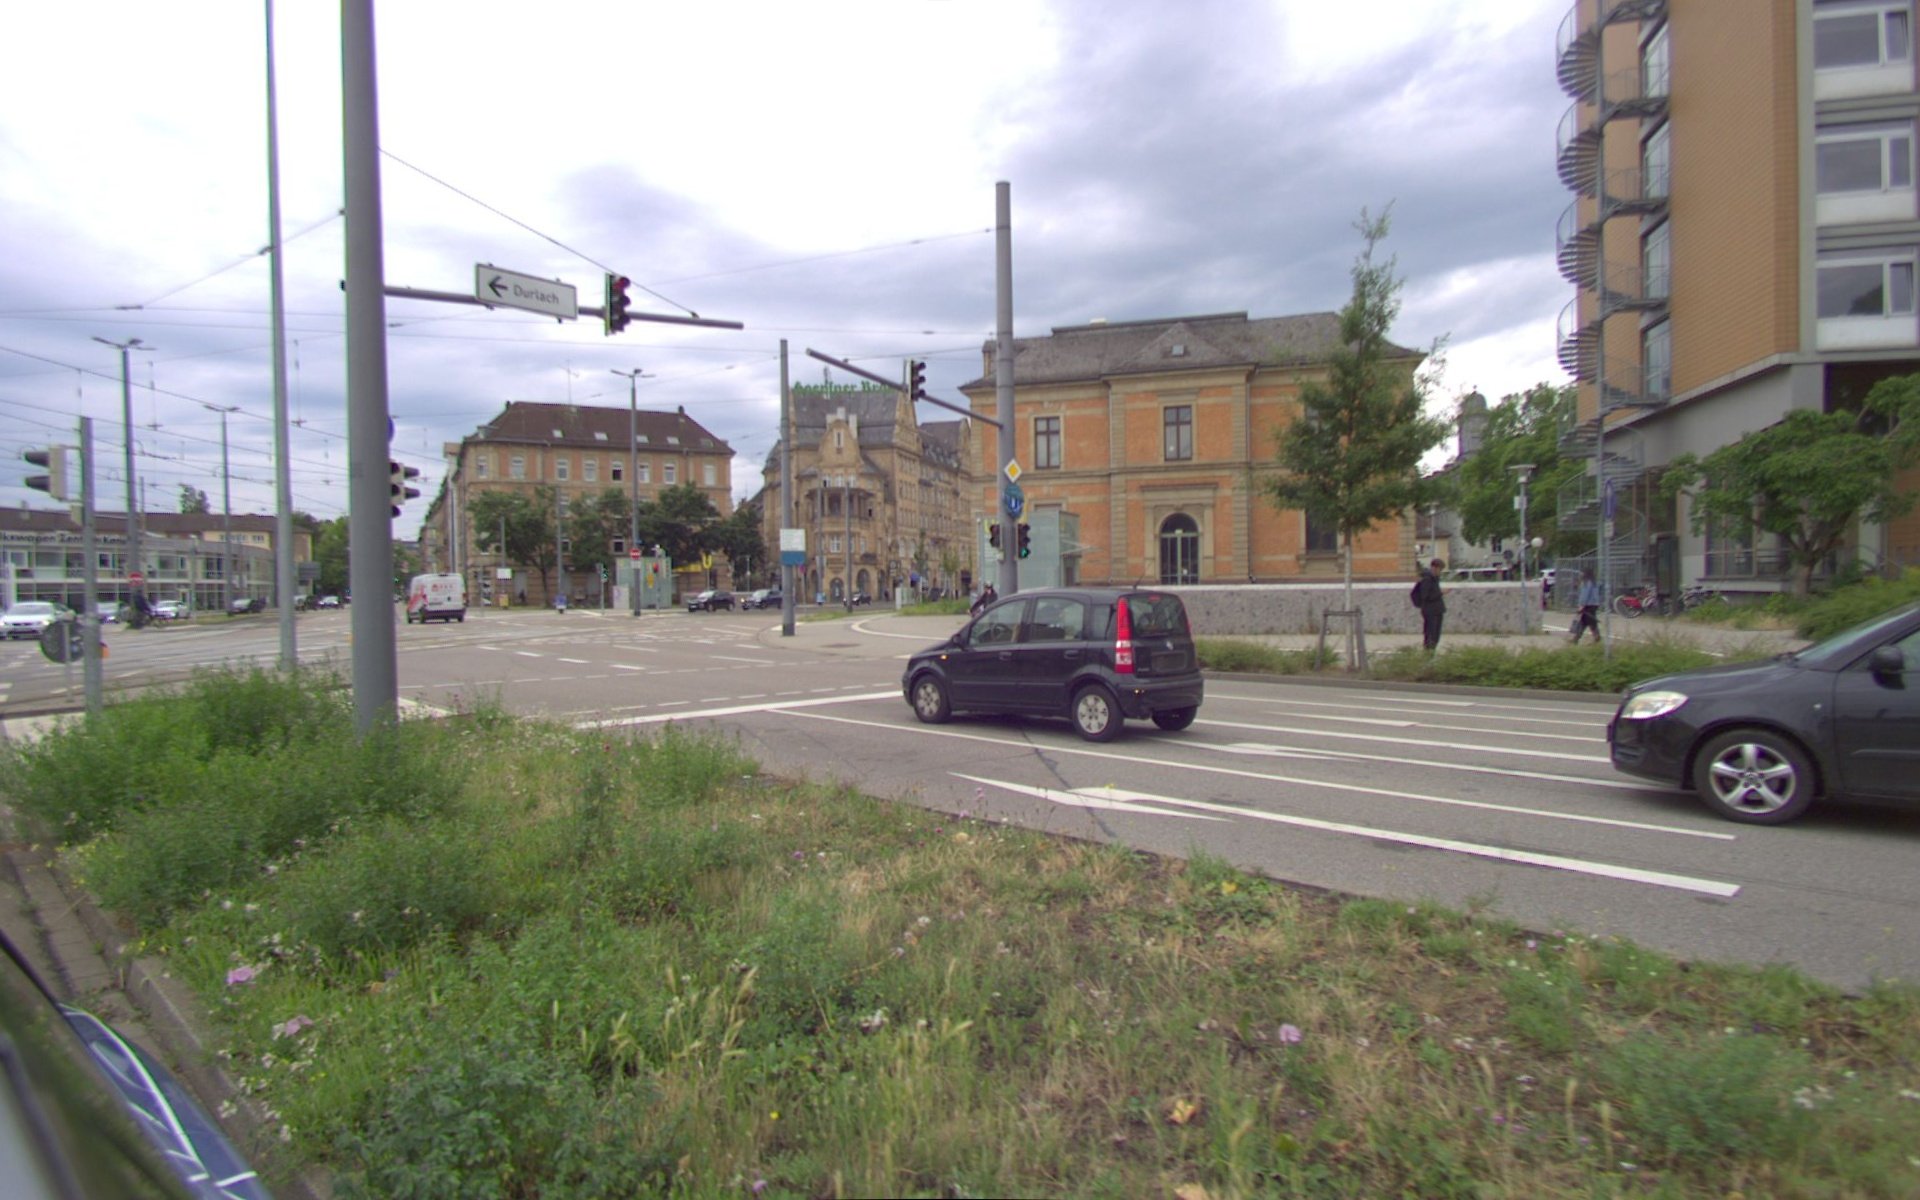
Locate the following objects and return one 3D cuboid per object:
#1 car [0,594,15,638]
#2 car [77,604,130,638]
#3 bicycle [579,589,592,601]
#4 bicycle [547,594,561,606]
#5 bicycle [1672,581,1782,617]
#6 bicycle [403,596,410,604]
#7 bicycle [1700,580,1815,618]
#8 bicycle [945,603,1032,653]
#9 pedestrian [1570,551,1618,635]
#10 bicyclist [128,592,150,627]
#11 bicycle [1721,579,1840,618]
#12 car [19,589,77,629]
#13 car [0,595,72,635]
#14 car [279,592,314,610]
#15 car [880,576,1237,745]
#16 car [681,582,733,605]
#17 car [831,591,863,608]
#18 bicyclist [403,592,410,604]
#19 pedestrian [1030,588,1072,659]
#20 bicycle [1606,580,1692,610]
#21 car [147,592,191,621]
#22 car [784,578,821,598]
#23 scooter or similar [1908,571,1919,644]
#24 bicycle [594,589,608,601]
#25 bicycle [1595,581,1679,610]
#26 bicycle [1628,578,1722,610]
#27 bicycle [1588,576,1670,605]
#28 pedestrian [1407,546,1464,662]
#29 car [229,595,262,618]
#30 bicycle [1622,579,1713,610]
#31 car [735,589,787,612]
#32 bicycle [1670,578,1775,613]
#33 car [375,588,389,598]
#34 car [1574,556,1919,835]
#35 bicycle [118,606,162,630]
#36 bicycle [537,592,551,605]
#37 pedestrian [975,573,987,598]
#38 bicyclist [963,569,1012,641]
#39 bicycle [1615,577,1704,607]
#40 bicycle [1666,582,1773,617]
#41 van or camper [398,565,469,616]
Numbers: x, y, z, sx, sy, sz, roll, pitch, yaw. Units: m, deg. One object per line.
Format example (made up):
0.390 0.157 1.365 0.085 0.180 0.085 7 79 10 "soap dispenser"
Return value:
-45.144 0.769 46.302 1.966 2.029 4.012 -2 1 -31 "car"
-55.349 1.344 65.449 1.966 2.029 4.012 -2 1 -31 "car"
-32.688 -0.473 88.355 0.742 1.038 2.404 -2 1 -29 "bicycle"
-34.997 -0.007 87.231 0.742 1.038 2.404 -1 1 -29 "bicycle"
21.172 -0.031 27.970 2.335 0.963 0.595 -1 1 19 "bicycle"
-91.130 -0.047 166.642 0.786 1.302 2.418 -1 1 -32 "bicycle"
21.246 -0.019 27.007 2.335 0.963 0.595 -1 1 19 "bicycle"
0.715 0.665 24.678 2.087 1.036 0.796 -5 3 -39 "bicycle"
13.514 -0.144 21.570 0.738 1.747 0.687 -1 1 -43 "pedestrian"
-39.624 0.448 48.845 0.514 1.651 0.650 -1 1 22 "bicyclist"
21.276 -0.039 26.288 2.335 0.963 0.595 -1 1 19 "bicycle"
-49.219 0.438 54.669 1.968 2.029 4.009 -2 1 -37 "car"
-36.910 0.550 40.154 1.941 1.466 4.204 -2 1 -34 "car"
-69.423 0.073 105.992 2.333 1.768 5.146 -2 1 -26 "car"
0.948 0.536 10.986 3.666 1.527 1.600 0 1 44 "car"
-18.884 -0.509 75.817 1.981 1.623 4.225 -1 1 15 "car"
-10.907 -0.045 97.811 1.816 1.476 3.983 -1 1 15 "car"
-91.005 -0.335 166.395 0.810 1.880 0.926 -1 1 -31 "bicyclist"
2.057 0.515 22.918 0.571 1.563 0.750 -1 1 -43 "pedestrian"
23.145 -0.164 34.046 2.343 0.963 0.593 -1 1 29 "bicycle"
-60.301 0.466 77.212 1.966 2.028 4.013 -2 1 -28 "car"
-14.234 -1.092 91.612 1.817 1.773 3.980 0 1 17 "car"
17.467 0.146 17.898 0.627 1.312 1.758 -1 1 30 "scooter or similar"
-31.554 -0.459 88.842 0.742 1.038 2.404 -2 1 -29 "bicycle"
23.316 -0.138 34.922 2.343 0.963 0.593 -1 1 29 "bicycle"
22.356 -0.175 31.714 2.343 0.963 0.593 -1 1 29 "bicycle"
23.493 -0.337 35.591 2.343 0.963 0.593 -1 1 29 "bicycle"
8.426 0.058 17.930 0.809 1.995 0.659 -1 1 -43 "pedestrian"
-65.886 0.573 93.338 1.966 2.028 4.013 -2 1 -28 "car"
22.720 -0.181 32.539 2.343 0.963 0.593 -1 1 29 "bicycle"
-16.038 0.018 81.842 2.142 1.727 4.901 -1 1 15 "car"
22.015 -0.123 29.254 2.335 0.963 0.595 -1 1 19 "bicycle"
-90.705 -1.043 158.817 1.857 1.481 4.478 -2 2 -31 "car"
6.292 0.534 5.802 4.479 1.519 1.850 0 -1 43 "car"
-39.610 0.848 48.882 0.524 1.078 1.603 -1 1 22 "bicycle"
-35.722 -0.111 86.892 0.823 1.038 2.404 -2 1 -29 "bicycle"
1.567 -1.104 75.465 0.800 1.846 0.848 -1 1 6 "pedestrian"
0.663 0.105 24.621 0.802 1.668 0.795 -5 3 -39 "bicyclist"
22.901 -0.258 33.202 2.343 0.963 0.593 -1 1 29 "bicycle"
21.459 -0.015 28.642 2.335 0.963 0.595 -1 1 19 "bicycle"
-27.757 -0.481 53.227 2.250 2.546 5.583 -1 1 -39 "van or camper"
